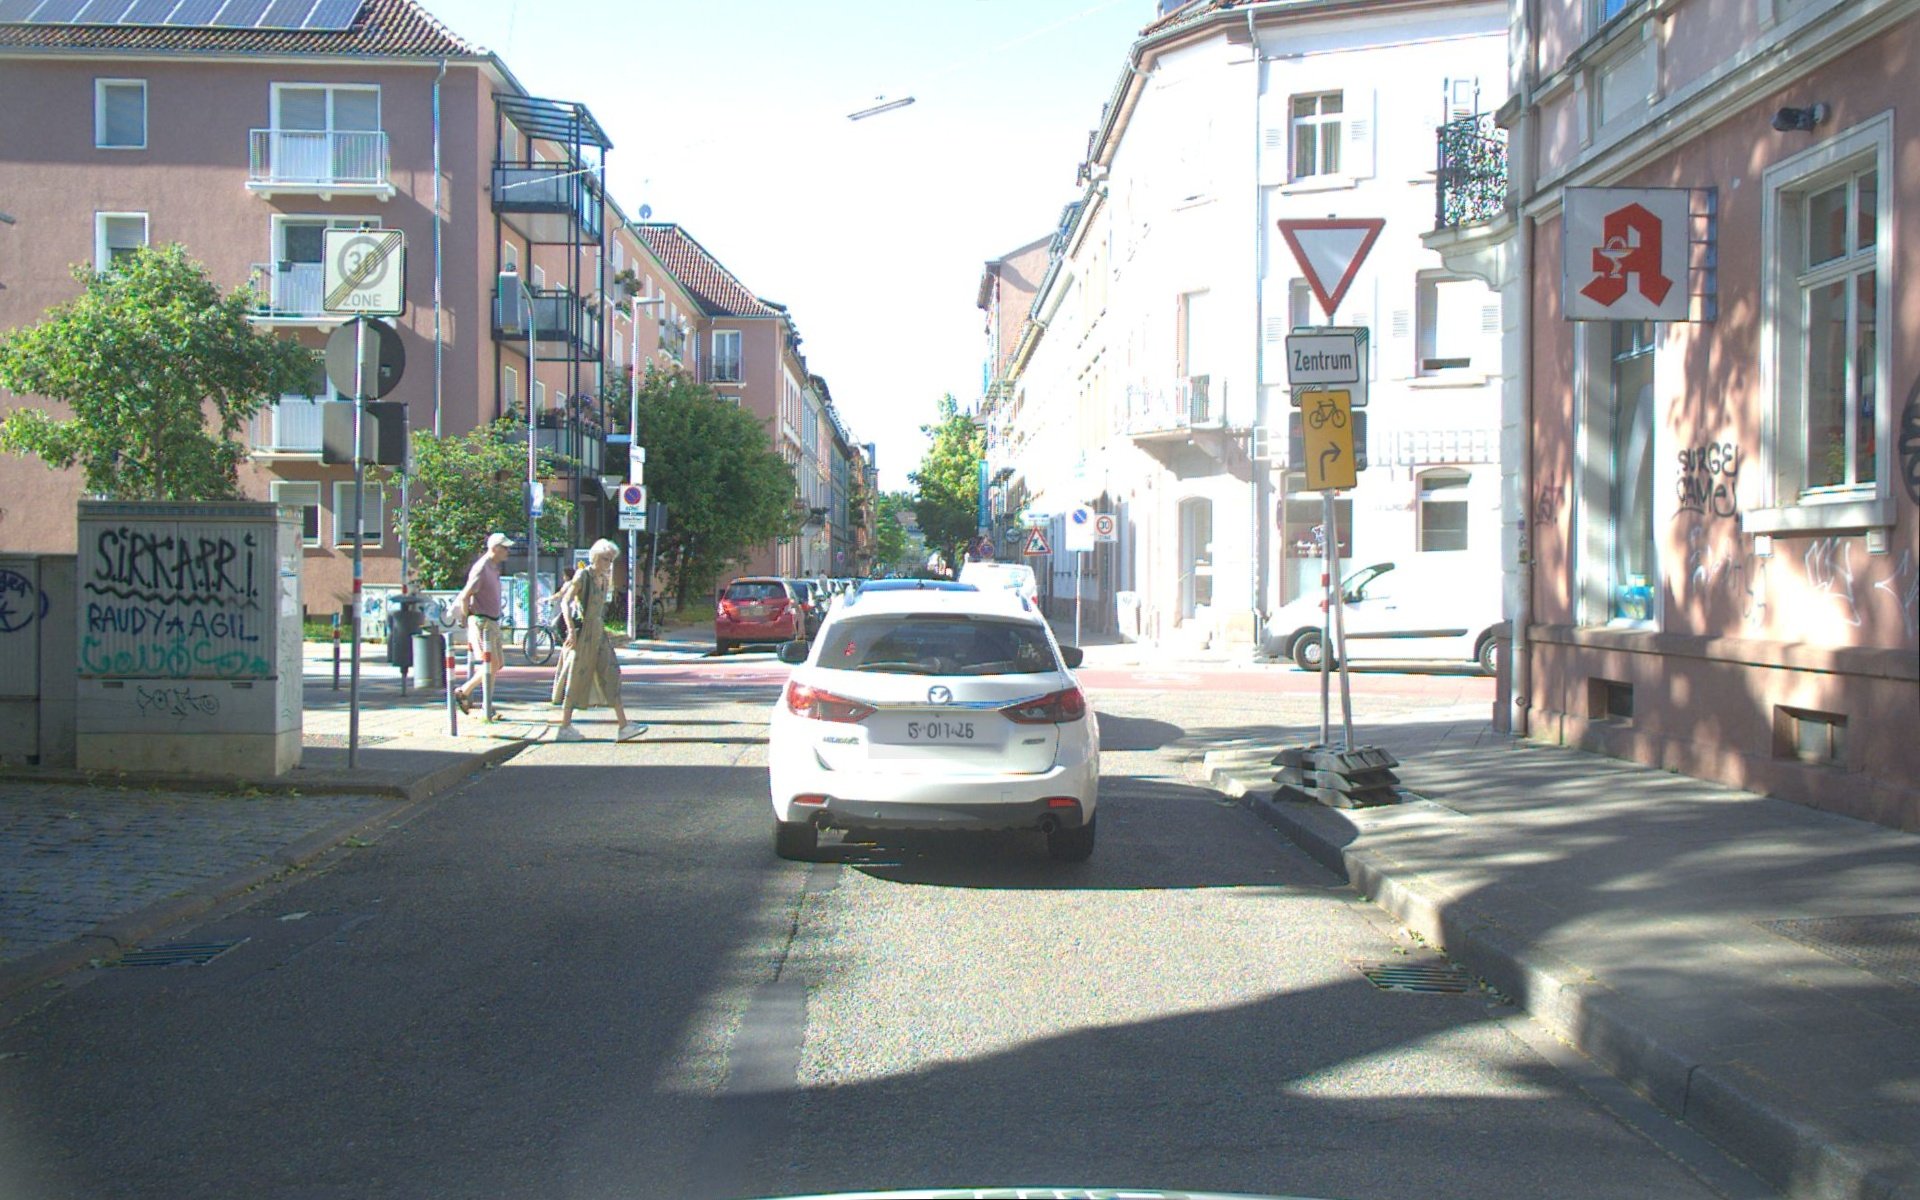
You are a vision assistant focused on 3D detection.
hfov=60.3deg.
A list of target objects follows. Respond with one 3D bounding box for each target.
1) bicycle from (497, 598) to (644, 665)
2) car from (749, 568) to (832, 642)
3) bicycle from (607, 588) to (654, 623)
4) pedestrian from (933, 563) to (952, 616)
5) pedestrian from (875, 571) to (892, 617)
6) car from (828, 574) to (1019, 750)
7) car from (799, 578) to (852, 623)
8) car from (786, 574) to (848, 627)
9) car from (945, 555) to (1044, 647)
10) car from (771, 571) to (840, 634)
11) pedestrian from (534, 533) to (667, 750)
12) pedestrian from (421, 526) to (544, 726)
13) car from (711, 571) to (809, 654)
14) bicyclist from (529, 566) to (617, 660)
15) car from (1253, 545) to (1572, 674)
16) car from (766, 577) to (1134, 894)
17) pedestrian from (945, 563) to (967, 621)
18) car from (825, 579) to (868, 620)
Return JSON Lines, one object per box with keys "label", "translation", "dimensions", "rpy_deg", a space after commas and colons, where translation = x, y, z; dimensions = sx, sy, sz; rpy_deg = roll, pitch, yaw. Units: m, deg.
{"label": "bicycle", "translation": [-6.528, 0.518, 27.708], "dimensions": [2.374, 1.098, 0.790], "rpy_deg": [0, 0, 20]}
{"label": "car", "translation": [-4.098, 0.108, 40.372], "dimensions": [1.685, 1.712, 3.725], "rpy_deg": [0, 0, -1]}
{"label": "bicycle", "translation": [-9.163, 0.157, 45.914], "dimensions": [0.598, 0.948, 1.892], "rpy_deg": [0, 0, -34]}
{"label": "pedestrian", "translation": [-0.733, -0.434, 68.083], "dimensions": [0.755, 2.155, 0.834], "rpy_deg": [0, 0, -1]}
{"label": "pedestrian", "translation": [-3.019, -0.239, 65.196], "dimensions": [0.634, 1.828, 0.639], "rpy_deg": [0, 0, -1]}
{"label": "car", "translation": [-0.382, 0.513, 16.142], "dimensions": [1.648, 1.507, 3.659], "rpy_deg": [0, 1, -2]}
{"label": "car", "translation": [-4.593, 0.011, 56.673], "dimensions": [1.569, 1.503, 3.567], "rpy_deg": [0, 0, -1]}
{"label": "car", "translation": [-4.529, 0.017, 52.662], "dimensions": [1.685, 1.604, 3.725], "rpy_deg": [0, 0, -1]}
{"label": "car", "translation": [0.744, 0.009, 38.131], "dimensions": [1.904, 1.982, 4.075], "rpy_deg": [1, 0, -4]}
{"label": "car", "translation": [-4.240, 0.066, 45.883], "dimensions": [1.602, 1.685, 3.784], "rpy_deg": [0, 0, -1]}
{"label": "pedestrian", "translation": [-3.182, 0.336, 14.668], "dimensions": [0.836, 1.846, 0.814], "rpy_deg": [2, 3, 26]}
{"label": "pedestrian", "translation": [-4.616, 0.234, 16.027], "dimensions": [0.947, 1.870, 0.682], "rpy_deg": [2, 2, -2]}
{"label": "car", "translation": [-4.143, 0.210, 34.772], "dimensions": [1.734, 1.616, 3.725], "rpy_deg": [0, 1, -2]}
{"label": "bicyclist", "translation": [-6.474, 0.208, 27.677], "dimensions": [1.170, 1.543, 0.841], "rpy_deg": [0, 0, 19]}
{"label": "car", "translation": [7.394, 0.141, 27.001], "dimensions": [4.791, 1.962, 1.999], "rpy_deg": [1, -1, 23]}
{"label": "car", "translation": [-0.113, 0.641, 10.003], "dimensions": [1.787, 1.540, 3.822], "rpy_deg": [1, 1, -2]}
{"label": "pedestrian", "translation": [-0.134, -0.275, 55.902], "dimensions": [0.755, 1.952, 0.834], "rpy_deg": [0, 0, -1]}
{"label": "car", "translation": [-4.561, -0.024, 66.985], "dimensions": [1.540, 1.613, 3.610], "rpy_deg": [0, 0, -1]}
